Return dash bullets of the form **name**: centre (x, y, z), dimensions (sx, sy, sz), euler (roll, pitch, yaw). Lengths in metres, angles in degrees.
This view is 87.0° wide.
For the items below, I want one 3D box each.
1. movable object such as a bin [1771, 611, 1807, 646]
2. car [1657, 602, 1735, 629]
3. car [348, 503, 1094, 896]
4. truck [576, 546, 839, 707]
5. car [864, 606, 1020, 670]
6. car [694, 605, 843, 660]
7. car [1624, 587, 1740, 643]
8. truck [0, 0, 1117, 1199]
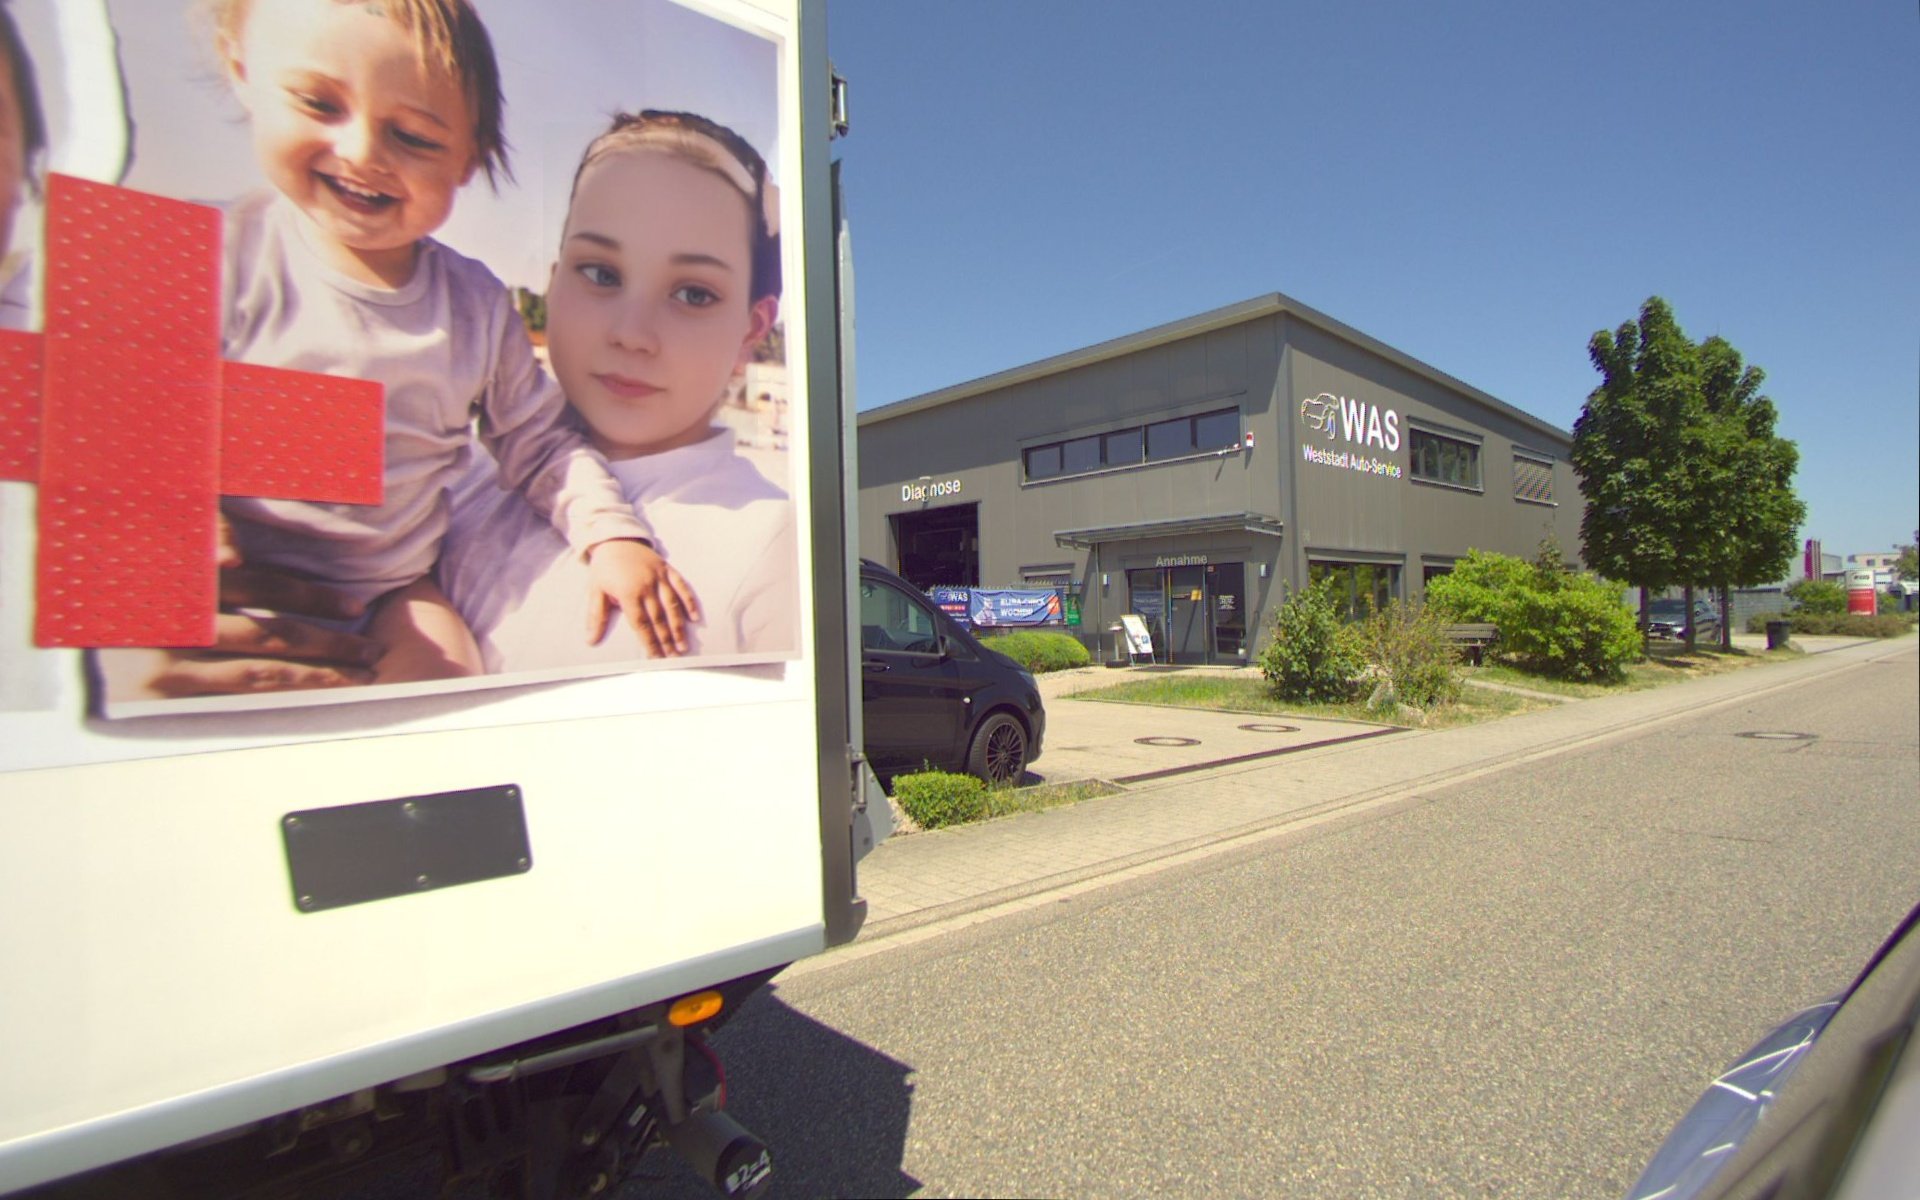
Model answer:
- **movable object such as a bin**: centre (26.174, 0.888, 31.941), dimensions (0.793, 1.059, 0.618), euler (-1, -1, -29)
- **car**: centre (41.846, 0.879, 57.562), dimensions (3.349, 1.387, 1.764), euler (-3, -2, 44)
- **car**: centre (-1.477, 0.516, 7.748), dimensions (5.244, 2.039, 1.996), euler (0, -1, -41)
- **truck**: centre (-4.707, 0.412, 18.035), dimensions (2.142, 2.400, 5.943), euler (-1, 0, -40)
- **car**: centre (-0.386, 0.853, 24.031), dimensions (3.508, 1.322, 1.588), euler (-1, 1, -41)
- **car**: centre (-5.432, 0.891, 28.886), dimensions (3.848, 1.435, 1.719), euler (0, -1, -41)
- **car**: centre (25.662, 0.479, 35.912), dimensions (4.827, 1.833, 2.156), euler (-1, 0, -40)
- **truck**: centre (-3.038, -0.040, 0.964), dimensions (6.761, 3.246, 2.461), euler (0, -1, -40)
